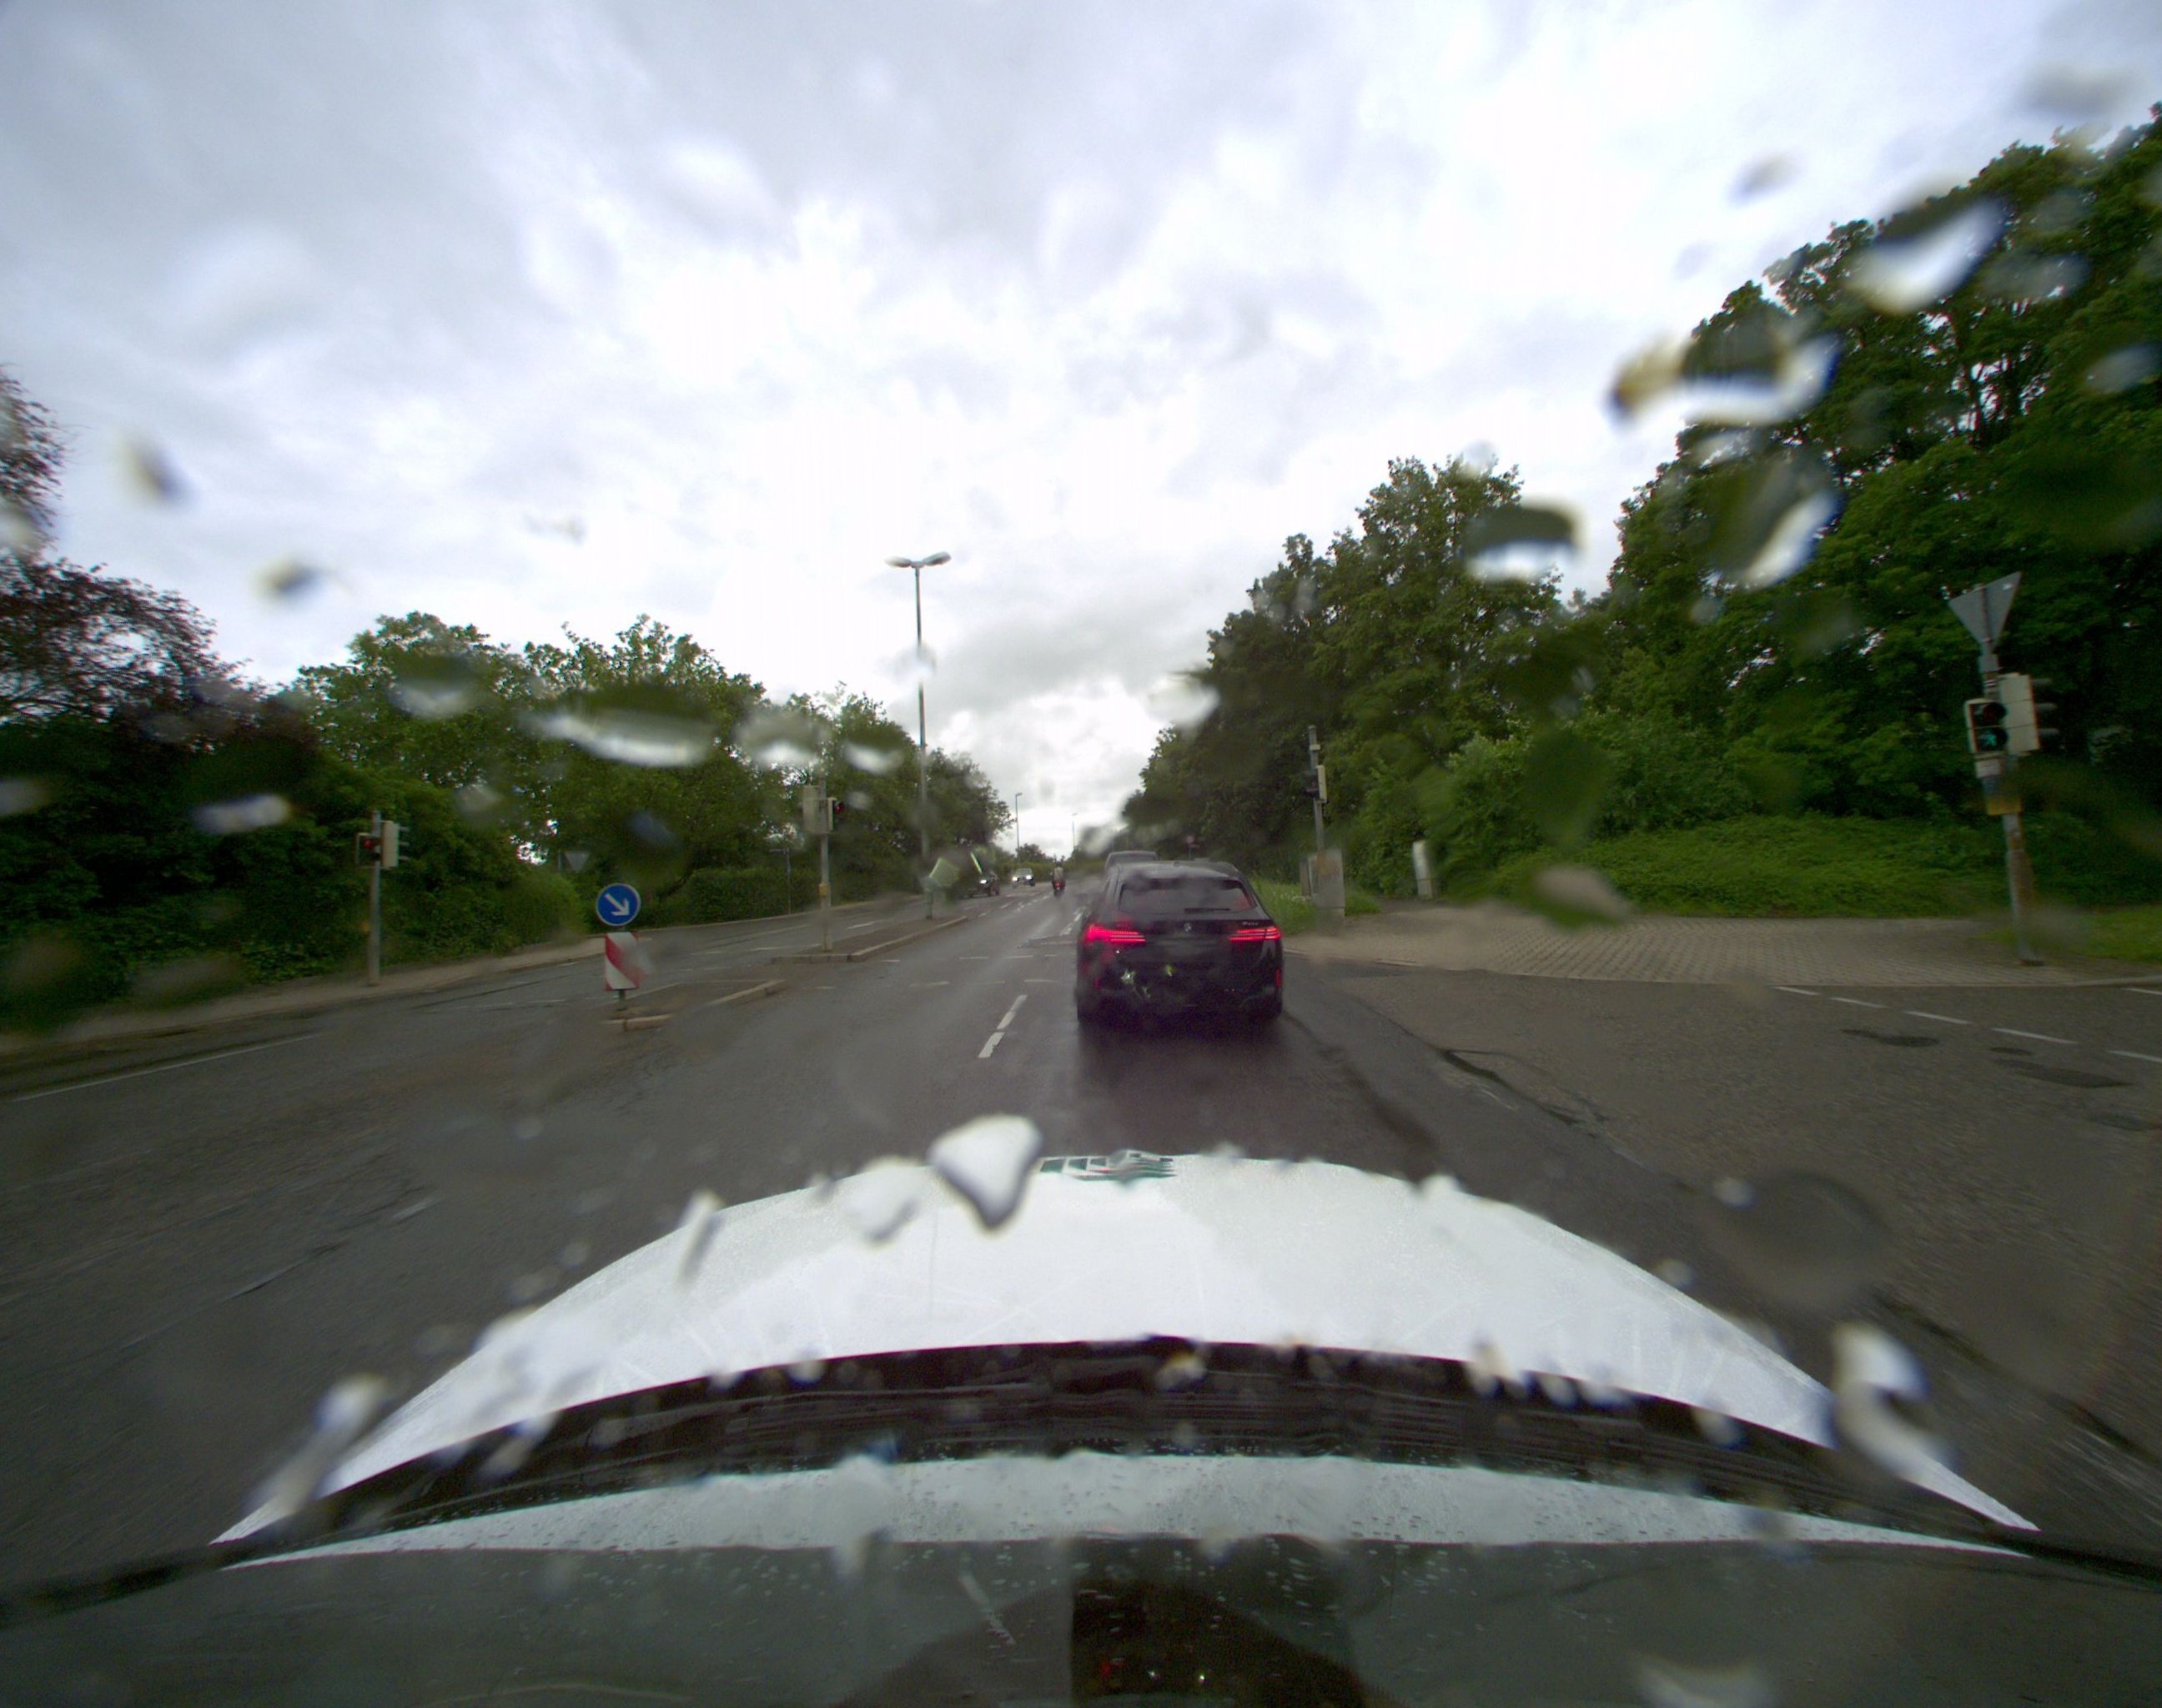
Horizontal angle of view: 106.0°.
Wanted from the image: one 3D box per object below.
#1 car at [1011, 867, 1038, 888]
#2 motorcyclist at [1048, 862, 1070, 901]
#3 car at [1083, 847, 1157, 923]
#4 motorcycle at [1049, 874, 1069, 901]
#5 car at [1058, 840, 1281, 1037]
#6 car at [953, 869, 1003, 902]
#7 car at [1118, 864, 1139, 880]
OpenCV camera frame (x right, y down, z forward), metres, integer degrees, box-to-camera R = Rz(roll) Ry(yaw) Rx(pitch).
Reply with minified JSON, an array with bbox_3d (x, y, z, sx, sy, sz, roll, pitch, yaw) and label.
[{"bbox_3d":[-4.759,1.939,68.885,1.788,1.603,3.732,-4,-1,1],"label":"car"},{"bbox_3d":[-0.958,1.190,35.811,0.842,1.647,0.468,-3,0,3],"label":"motorcyclist"},{"bbox_3d":[1.081,0.755,22.191,1.759,1.810,3.909,-2,0,3],"label":"car"},{"bbox_3d":[-0.967,1.464,35.870,0.738,1.119,1.428,-2,0,3],"label":"motorcycle"},{"bbox_3d":[0.821,0.710,8.470,1.757,1.536,3.676,-2,-1,3],"label":"car"},{"bbox_3d":[-5.612,1.682,44.840,2.017,1.563,3.879,-4,-1,2],"label":"car"},{"bbox_3d":[4.827,1.790,82.837,2.006,1.415,4.490,-2,0,3],"label":"car"}]
